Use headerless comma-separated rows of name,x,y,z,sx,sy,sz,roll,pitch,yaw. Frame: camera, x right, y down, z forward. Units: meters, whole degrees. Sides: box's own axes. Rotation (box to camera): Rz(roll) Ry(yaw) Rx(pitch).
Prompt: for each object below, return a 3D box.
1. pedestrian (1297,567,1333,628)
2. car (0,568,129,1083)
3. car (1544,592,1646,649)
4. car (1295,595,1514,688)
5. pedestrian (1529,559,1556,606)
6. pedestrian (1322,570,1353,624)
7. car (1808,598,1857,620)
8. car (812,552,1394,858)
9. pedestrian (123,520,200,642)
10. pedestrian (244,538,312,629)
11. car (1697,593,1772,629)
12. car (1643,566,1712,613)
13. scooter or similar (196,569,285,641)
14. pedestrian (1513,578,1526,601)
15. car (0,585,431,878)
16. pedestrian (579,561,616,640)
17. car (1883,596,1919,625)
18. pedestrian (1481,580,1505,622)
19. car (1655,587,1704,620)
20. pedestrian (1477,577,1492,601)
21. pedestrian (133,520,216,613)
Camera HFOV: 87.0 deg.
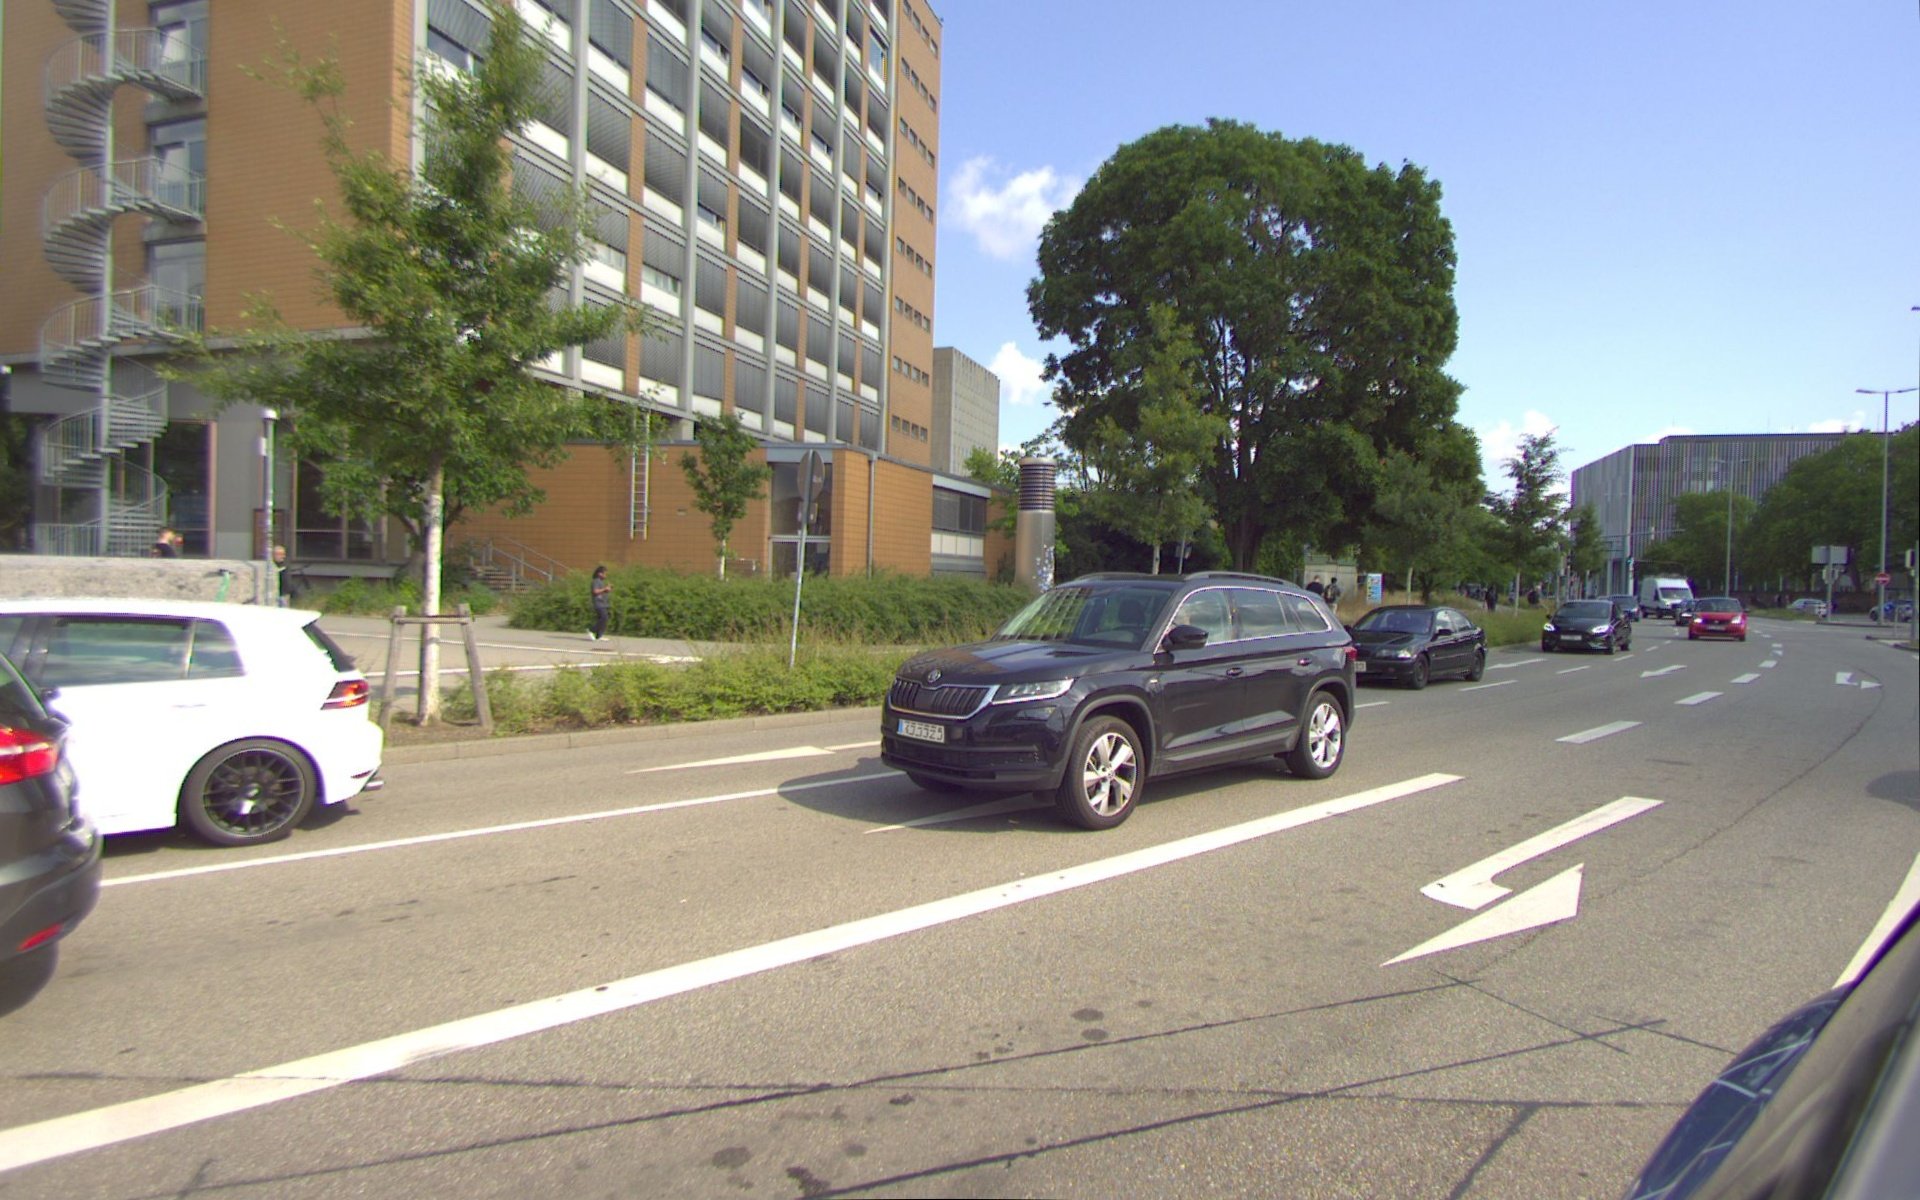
pedestrian,11.216,-0.088,31.982,0.634,1.893,0.760,0,4,-41
car,-4.800,0.665,2.495,4.183,1.548,1.769,0,0,-42
car,18.107,0.526,28.770,1.709,1.472,3.937,2,2,43
car,8.050,0.678,18.129,4.432,1.416,1.996,1,0,-43
pedestrian,25.595,-0.774,44.443,0.980,2.039,1.117,0,0,32
pedestrian,12.823,-0.107,34.379,0.634,1.766,0.671,0,4,-41
car,67.588,0.665,78.497,1.943,1.507,5.045,2,1,31
car,1.335,0.526,7.880,4.603,1.689,1.997,-1,2,-42
pedestrian,-13.879,-0.346,17.599,0.717,2.038,0.802,3,3,24
pedestrian,-12.651,-0.318,18.771,0.767,1.607,0.757,5,3,30
car,28.319,0.376,36.983,2.958,1.229,1.607,-2,1,-41
car,47.809,-0.735,67.585,2.459,2.915,6.100,2,1,24
scooter or similar,-11.864,0.074,16.695,1.164,1.144,0.404,2,1,-2
pedestrian,50.759,-0.989,91.816,0.980,2.039,1.117,2,1,32
car,-5.449,0.674,5.638,4.156,1.465,1.682,2,-3,-40
pedestrian,-7.222,-0.007,20.183,0.570,1.539,0.480,0,3,-37
car,59.274,0.647,62.505,1.977,1.705,4.310,0,0,22
pedestrian,26.090,0.041,49.537,0.980,2.039,1.117,0,0,32
car,37.666,0.168,53.056,1.877,1.638,3.954,0,0,32
pedestrian,44.005,-0.934,84.886,0.980,2.039,1.117,2,1,32
pedestrian,-14.252,-0.614,18.387,0.919,1.607,0.767,3,3,-11
